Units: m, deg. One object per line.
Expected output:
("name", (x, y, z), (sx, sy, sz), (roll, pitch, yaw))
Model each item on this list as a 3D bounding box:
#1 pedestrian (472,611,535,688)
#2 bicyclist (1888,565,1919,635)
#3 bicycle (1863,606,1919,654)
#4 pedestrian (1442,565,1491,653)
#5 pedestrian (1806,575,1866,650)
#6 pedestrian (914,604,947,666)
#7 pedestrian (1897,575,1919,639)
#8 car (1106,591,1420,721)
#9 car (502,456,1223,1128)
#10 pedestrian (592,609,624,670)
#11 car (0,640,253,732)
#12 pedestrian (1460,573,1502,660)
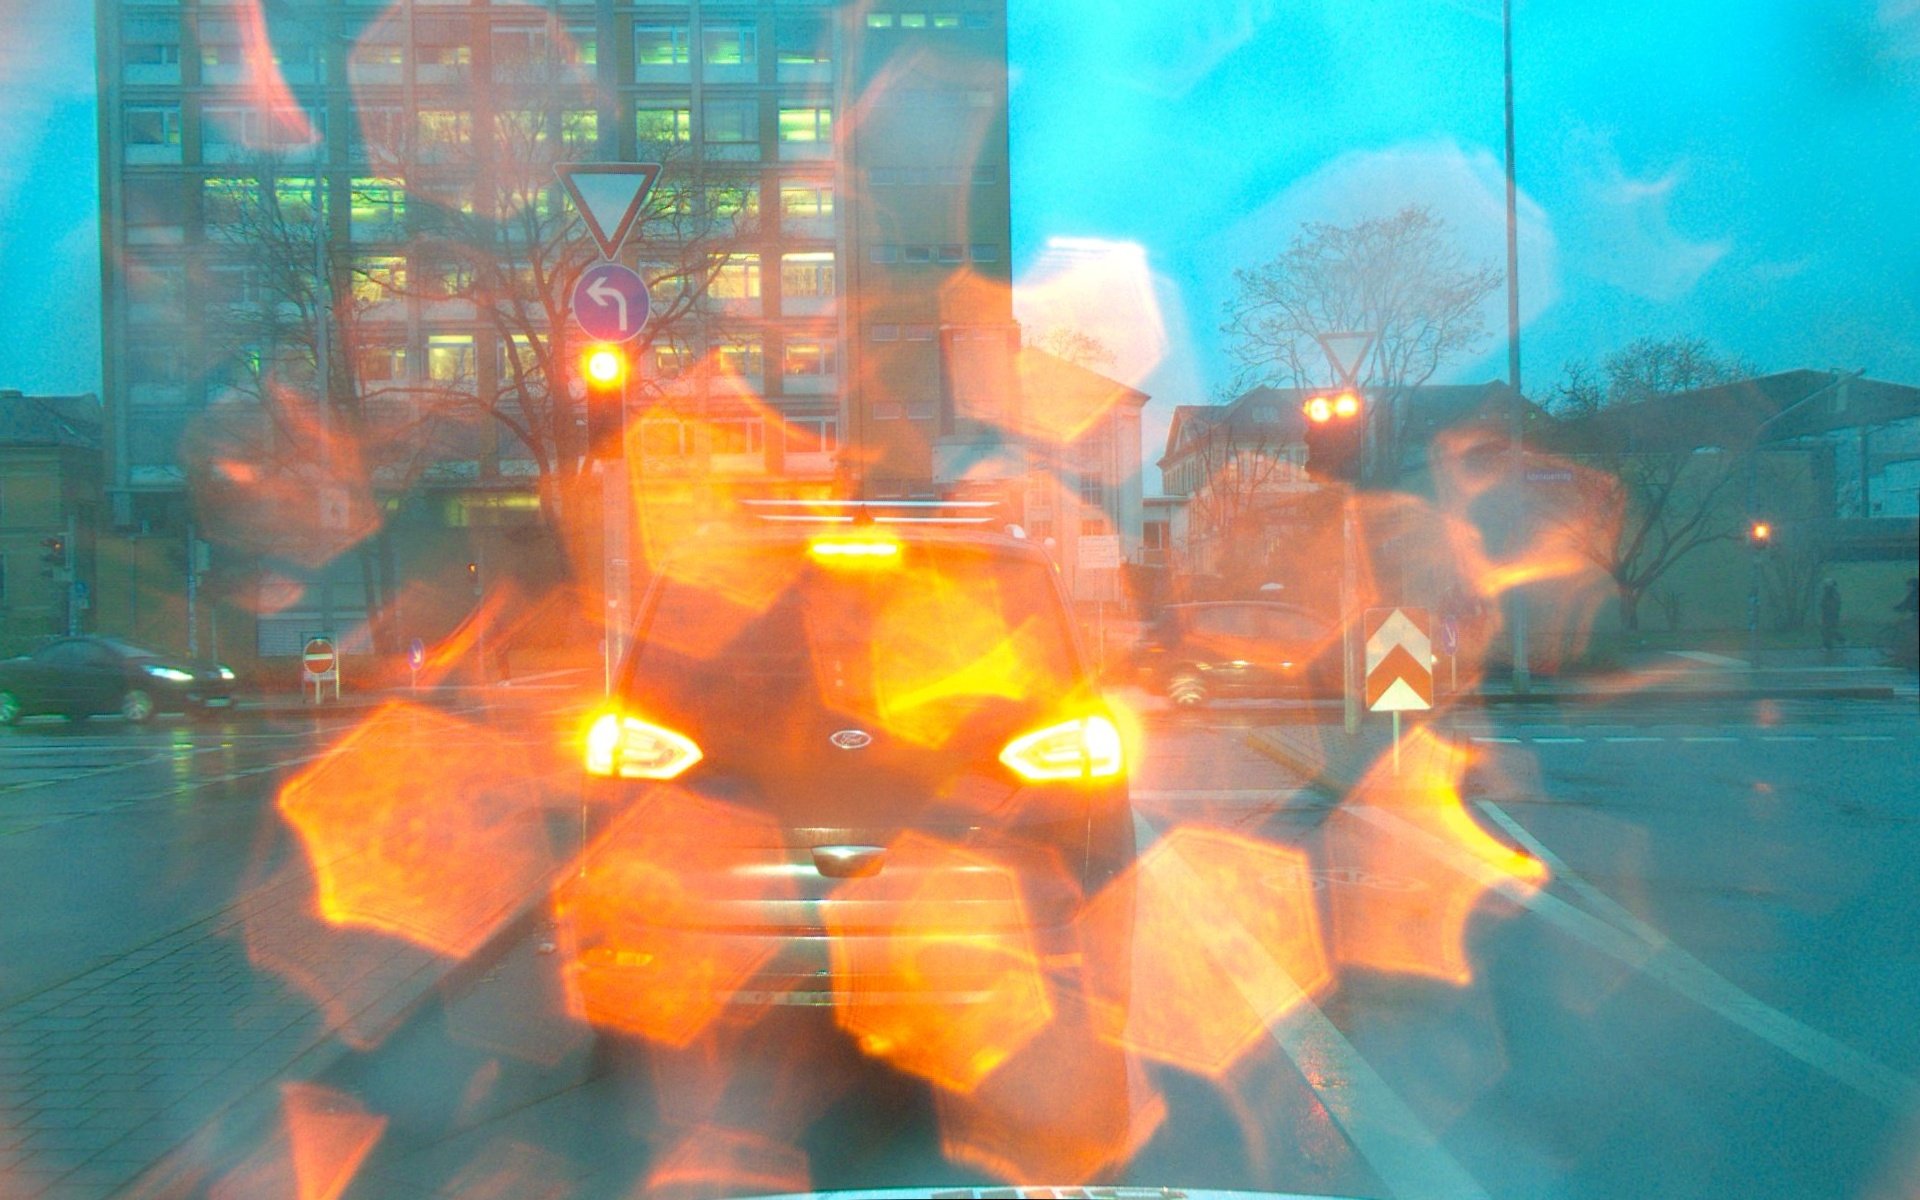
("pedestrian", (-11.764, 1.266, 42.622), (0.981, 1.874, 1.139), (-2, 2, 22))
("bicyclist", (22.305, -0.009, 38.827), (0.670, 1.627, 0.660), (-2, 0, 4))
("bicycle", (22.318, 0.685, 38.836), (1.844, 1.066, 0.660), (-2, 0, 4))
("pedestrian", (12.591, 0.219, 41.108), (0.875, 2.150, 0.886), (-2, 0, -1))
("pedestrian", (21.767, 0.305, 41.109), (0.976, 1.831, 0.919), (-2, 0, 0))
("pedestrian", (-0.807, 0.944, 45.105), (0.743, 1.656, 0.558), (-2, 0, 12))
("pedestrian", (23.995, 0.155, 41.125), (0.875, 1.559, 0.886), (-2, 0, 0))
("car", (4.137, 0.760, 22.790), (4.035, 1.610, 1.843), (-2, -1, 10))
("car", (-0.289, 0.539, 6.552), (1.953, 1.821, 3.999), (1, 0, -1))
("pedestrian", (-10.057, 1.124, 47.280), (0.625, 1.718, 0.637), (-2, 0, 16))
("car", (-13.431, 1.367, 26.420), (3.675, 1.324, 1.702), (-2, -1, 17))
("pedestrian", (13.234, 0.408, 42.034), (0.874, 2.150, 0.886), (-2, 0, 11))
